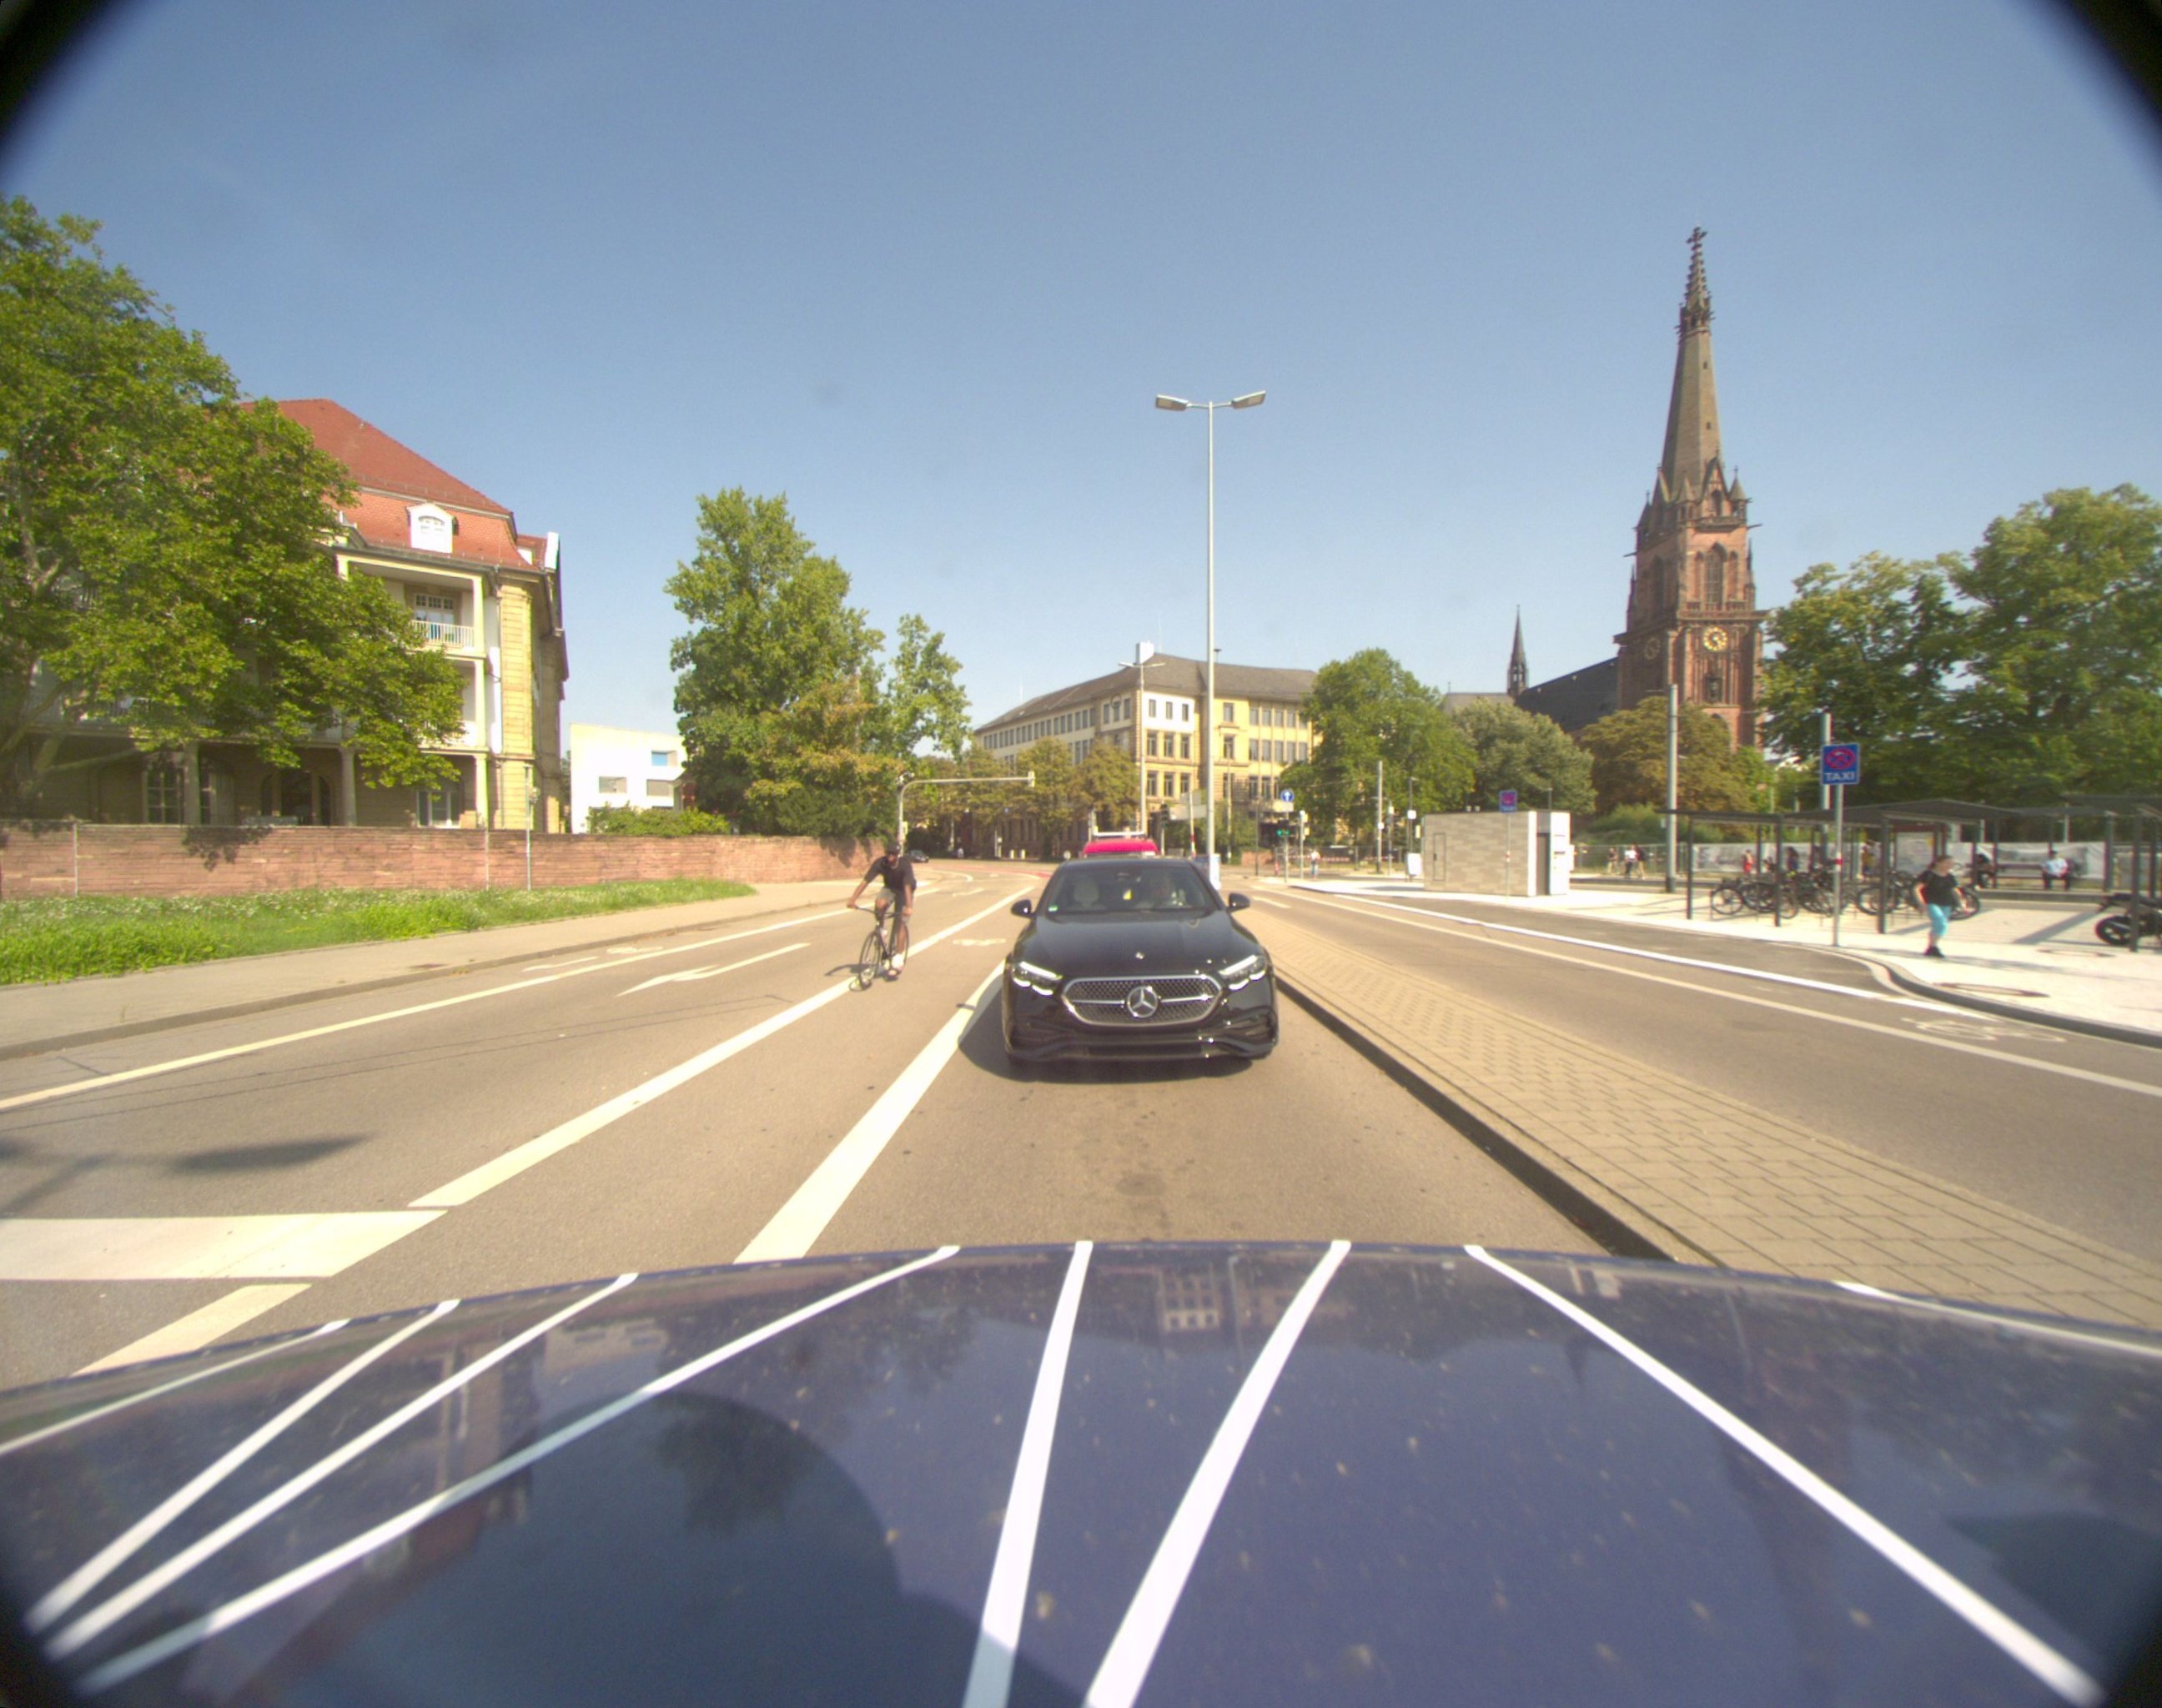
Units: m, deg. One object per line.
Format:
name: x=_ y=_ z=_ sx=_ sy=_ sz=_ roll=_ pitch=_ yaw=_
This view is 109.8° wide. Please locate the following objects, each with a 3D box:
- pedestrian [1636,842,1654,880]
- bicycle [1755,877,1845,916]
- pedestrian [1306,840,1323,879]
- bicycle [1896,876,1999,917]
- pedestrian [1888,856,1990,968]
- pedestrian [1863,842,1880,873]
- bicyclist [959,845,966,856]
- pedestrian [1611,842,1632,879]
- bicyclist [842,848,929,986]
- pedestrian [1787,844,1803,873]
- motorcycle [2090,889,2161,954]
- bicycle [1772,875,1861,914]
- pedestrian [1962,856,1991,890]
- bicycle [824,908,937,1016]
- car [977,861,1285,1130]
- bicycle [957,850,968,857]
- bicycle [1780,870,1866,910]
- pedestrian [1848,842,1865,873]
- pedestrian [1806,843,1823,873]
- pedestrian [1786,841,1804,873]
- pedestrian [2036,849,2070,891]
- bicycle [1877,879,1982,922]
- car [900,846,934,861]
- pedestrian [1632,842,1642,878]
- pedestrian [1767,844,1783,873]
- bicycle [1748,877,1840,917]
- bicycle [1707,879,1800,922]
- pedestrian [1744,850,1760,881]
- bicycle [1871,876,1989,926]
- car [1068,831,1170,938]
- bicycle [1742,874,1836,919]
pedestrian: x=25.704 y=0.322 z=34.635 sx=0.517 sy=1.697 sz=0.504 roll=1 pitch=2 yaw=26
bicycle: x=18.056 y=1.051 z=19.114 sx=0.410 sy=0.887 sz=1.584 roll=-1 pitch=1 yaw=-32
pedestrian: x=12.034 y=0.262 z=39.177 sx=0.732 sy=2.002 sz=0.715 roll=0 pitch=1 yaw=11
bicycle: x=21.149 y=1.021 z=18.577 sx=0.410 sy=0.887 sz=1.584 roll=-1 pitch=1 yaw=-32
pedestrian: x=12.445 y=0.815 z=11.038 sx=0.754 sy=1.556 sz=0.666 roll=1 pitch=1 yaw=-15
pedestrian: x=31.985 y=0.139 z=30.732 sx=0.440 sy=1.217 sz=0.382 roll=-3 pitch=2 yaw=-31
bicyclist: x=-15.689 y=-0.473 z=100.512 sx=0.668 sy=1.332 sz=0.922 roll=-1 pitch=2 yaw=-32
pedestrian: x=25.854 y=0.313 z=36.335 sx=0.716 sy=1.738 sz=0.389 roll=0 pitch=1 yaw=0
bicyclist: x=-2.322 y=0.712 z=9.128 sx=0.774 sy=1.569 sz=0.990 roll=0 pitch=1 yaw=0
pedestrian: x=30.256 y=0.184 z=32.189 sx=0.440 sy=1.217 sz=0.382 roll=-3 pitch=2 yaw=-31
motorcycle: x=17.996 y=1.135 z=12.420 sx=0.544 sy=1.003 sz=1.741 roll=-1 pitch=1 yaw=-32
bicycle: x=19.034 y=1.033 z=19.693 sx=0.402 sy=0.887 sz=1.584 roll=-1 pitch=1 yaw=-32
pedestrian: x=32.106 y=0.675 z=27.244 sx=0.468 sy=1.190 sz=0.573 roll=-1 pitch=2 yaw=-31
bicycle: x=-2.334 y=1.225 z=9.141 sx=0.774 sy=0.970 sz=2.149 roll=0 pitch=1 yaw=0
car: x=0.440 y=0.868 z=6.977 sx=1.824 sy=1.432 sz=4.874 roll=0 pitch=1 yaw=4
bicycle: x=-15.702 y=-0.079 z=100.568 sx=0.668 sy=0.951 sz=2.082 roll=-1 pitch=1 yaw=-32
bicycle: x=19.975 y=0.946 z=20.480 sx=0.453 sy=0.972 sz=1.584 roll=-3 pitch=2 yaw=-32
pedestrian: x=31.751 y=0.143 z=31.101 sx=0.440 sy=1.217 sz=0.382 roll=-3 pitch=2 yaw=-31
pedestrian: x=30.797 y=0.158 z=31.893 sx=0.440 sy=1.217 sz=0.382 roll=-3 pitch=2 yaw=-31
pedestrian: x=29.636 y=0.129 z=31.532 sx=0.440 sy=1.310 sz=0.434 roll=-3 pitch=2 yaw=-31
pedestrian: x=32.933 y=0.537 z=25.752 sx=0.663 sy=1.387 sz=0.642 roll=-1 pitch=2 yaw=-34
bicycle: x=19.951 y=1.067 z=17.898 sx=0.410 sy=0.887 sz=1.584 roll=-1 pitch=1 yaw=-32
car: x=-18.414 y=-0.095 z=85.214 sx=2.004 sy=1.601 sz=4.235 roll=-2 pitch=2 yaw=-39
pedestrian: x=26.473 y=0.272 z=36.177 sx=0.394 sy=1.685 sz=0.244 roll=-1 pitch=2 yaw=-31
pedestrian: x=29.790 y=0.197 z=32.631 sx=0.440 sy=1.217 sz=0.382 roll=-3 pitch=2 yaw=-31
bicycle: x=17.608 y=1.036 z=18.799 sx=0.402 sy=0.887 sz=1.584 roll=-1 pitch=1 yaw=-32
bicycle: x=15.761 y=1.079 z=17.848 sx=0.402 sy=0.887 sz=1.584 roll=-1 pitch=1 yaw=-32
pedestrian: x=29.418 y=0.493 z=33.307 sx=0.394 sy=1.310 sz=0.414 roll=-3 pitch=2 yaw=-27
bicycle: x=19.239 y=1.040 z=17.256 sx=0.534 sy=0.981 sz=1.709 roll=-1 pitch=1 yaw=-32
car: x=0.756 y=0.509 z=15.097 sx=1.736 sy=1.808 sz=4.278 roll=0 pitch=0 yaw=3
bicycle: x=17.039 y=1.000 z=18.311 sx=0.422 sy=0.962 sz=1.584 roll=-1 pitch=1 yaw=-32
